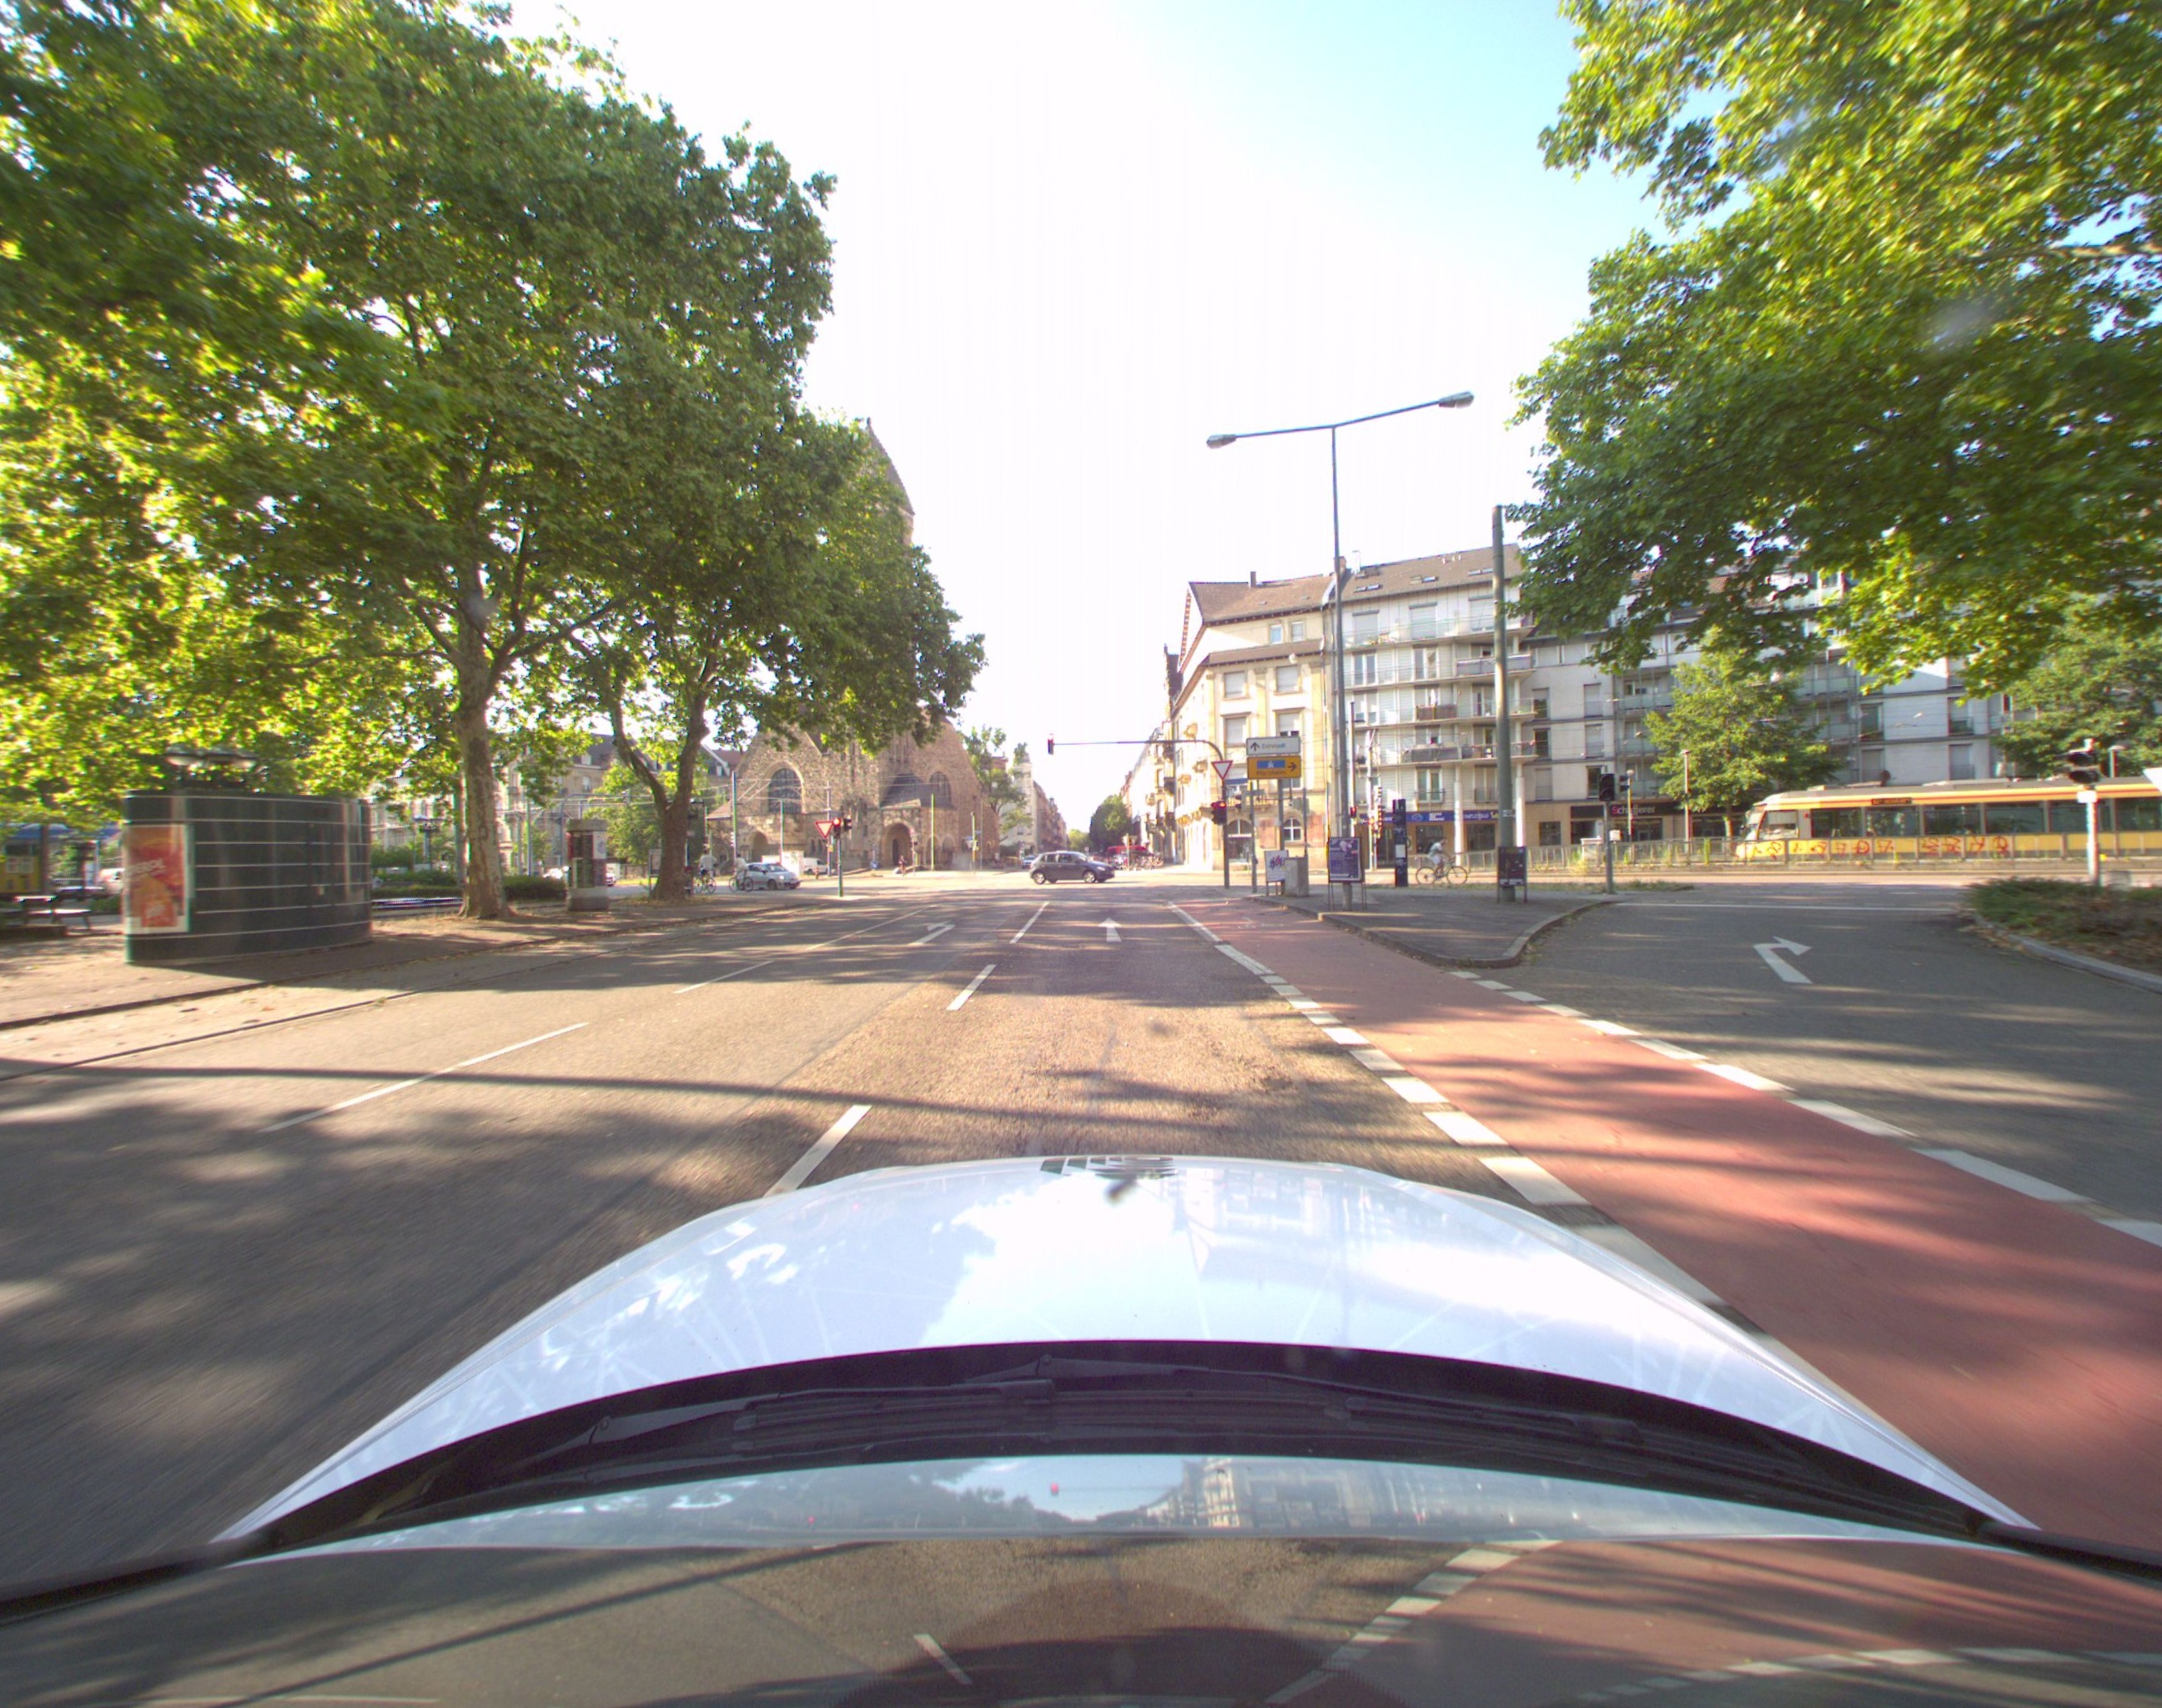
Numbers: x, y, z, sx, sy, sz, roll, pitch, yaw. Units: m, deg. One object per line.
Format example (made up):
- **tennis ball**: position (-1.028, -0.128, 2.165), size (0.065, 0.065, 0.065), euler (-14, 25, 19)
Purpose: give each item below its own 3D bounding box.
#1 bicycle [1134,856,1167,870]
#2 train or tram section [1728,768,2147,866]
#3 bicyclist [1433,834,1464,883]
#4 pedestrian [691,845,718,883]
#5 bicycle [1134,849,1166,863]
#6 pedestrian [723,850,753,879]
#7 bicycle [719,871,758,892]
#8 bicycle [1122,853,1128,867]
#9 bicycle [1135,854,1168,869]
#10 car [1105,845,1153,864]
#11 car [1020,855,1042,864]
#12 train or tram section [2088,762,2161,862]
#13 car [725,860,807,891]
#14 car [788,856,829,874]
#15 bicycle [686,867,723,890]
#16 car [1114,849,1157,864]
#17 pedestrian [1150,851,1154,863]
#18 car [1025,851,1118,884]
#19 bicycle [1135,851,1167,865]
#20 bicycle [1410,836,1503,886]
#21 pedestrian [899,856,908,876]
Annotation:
- **bicycle**: position (6.019, 0.760, 70.883), size (2.796, 1.203, 0.509), euler (1, -1, -2)
- **train or tram section**: position (34.937, -1.415, 34.220), size (11.681, 3.640, 3.437), euler (1, -1, 26)
- **bicyclist**: position (12.770, 0.144, 28.310), size (0.796, 1.656, 0.937), euler (1, -1, 13)
- **pedestrian**: position (-16.942, 0.442, 36.670), size (0.981, 1.708, 0.632), euler (0, -1, 33)
- **bicycle**: position (6.159, 0.192, 73.003), size (2.796, 1.203, 0.509), euler (1, -1, -2)
- **pedestrian**: position (-15.693, 0.465, 37.270), size (1.038, 1.278, 0.797), euler (0, -1, 31)
- **bicycle**: position (-15.715, 1.251, 37.356), size (1.764, 0.895, 0.755), euler (-1, 1, 31)
- **bicycle**: position (4.019, 0.545, 73.721), size (0.506, 1.203, 2.093), euler (1, 0, 3)
- **bicycle**: position (6.212, 0.658, 71.803), size (2.796, 1.203, 0.516), euler (1, -1, -2)
- **car**: position (5.394, 0.061, 91.322), size (5.023, 2.014, 2.144), euler (1, -1, -35)
- **car**: position (-6.577, 0.717, 106.959), size (1.581, 1.144, 3.400), euler (1, 0, 19)
- **train or tram section**: position (45.468, -1.485, 29.091), size (11.684, 3.640, 3.437), euler (1, -1, 24)
- **car**: position (-17.157, 1.147, 44.415), size (3.952, 1.556, 1.863), euler (1, -1, 23)
- **car**: position (-28.895, 1.147, 86.472), size (1.843, 1.838, 4.023), euler (1, -1, 26)
- **bicycle**: position (-16.995, 1.110, 36.794), size (1.766, 0.982, 0.661), euler (1, -1, 33)
- **car**: position (5.856, 0.320, 87.361), size (4.445, 1.538, 1.857), euler (1, -1, -32)
- **pedestrian**: position (8.072, 0.350, 92.195), size (0.392, 1.289, 0.432), euler (1, -1, 6)
- **car**: position (-0.412, 0.608, 37.311), size (3.892, 1.397, 1.661), euler (1, -1, 22)
- **bicycle**: position (6.222, 0.370, 72.415), size (2.796, 1.203, 0.516), euler (1, -1, -2)
- **bicycle**: position (12.981, 0.223, 28.242), size (2.822, 1.656, 0.833), euler (1, -1, 12)
- **pedestrian**: position (-16.167, 1.123, 74.169), size (0.607, 1.790, 0.711), euler (1, -1, 2)
